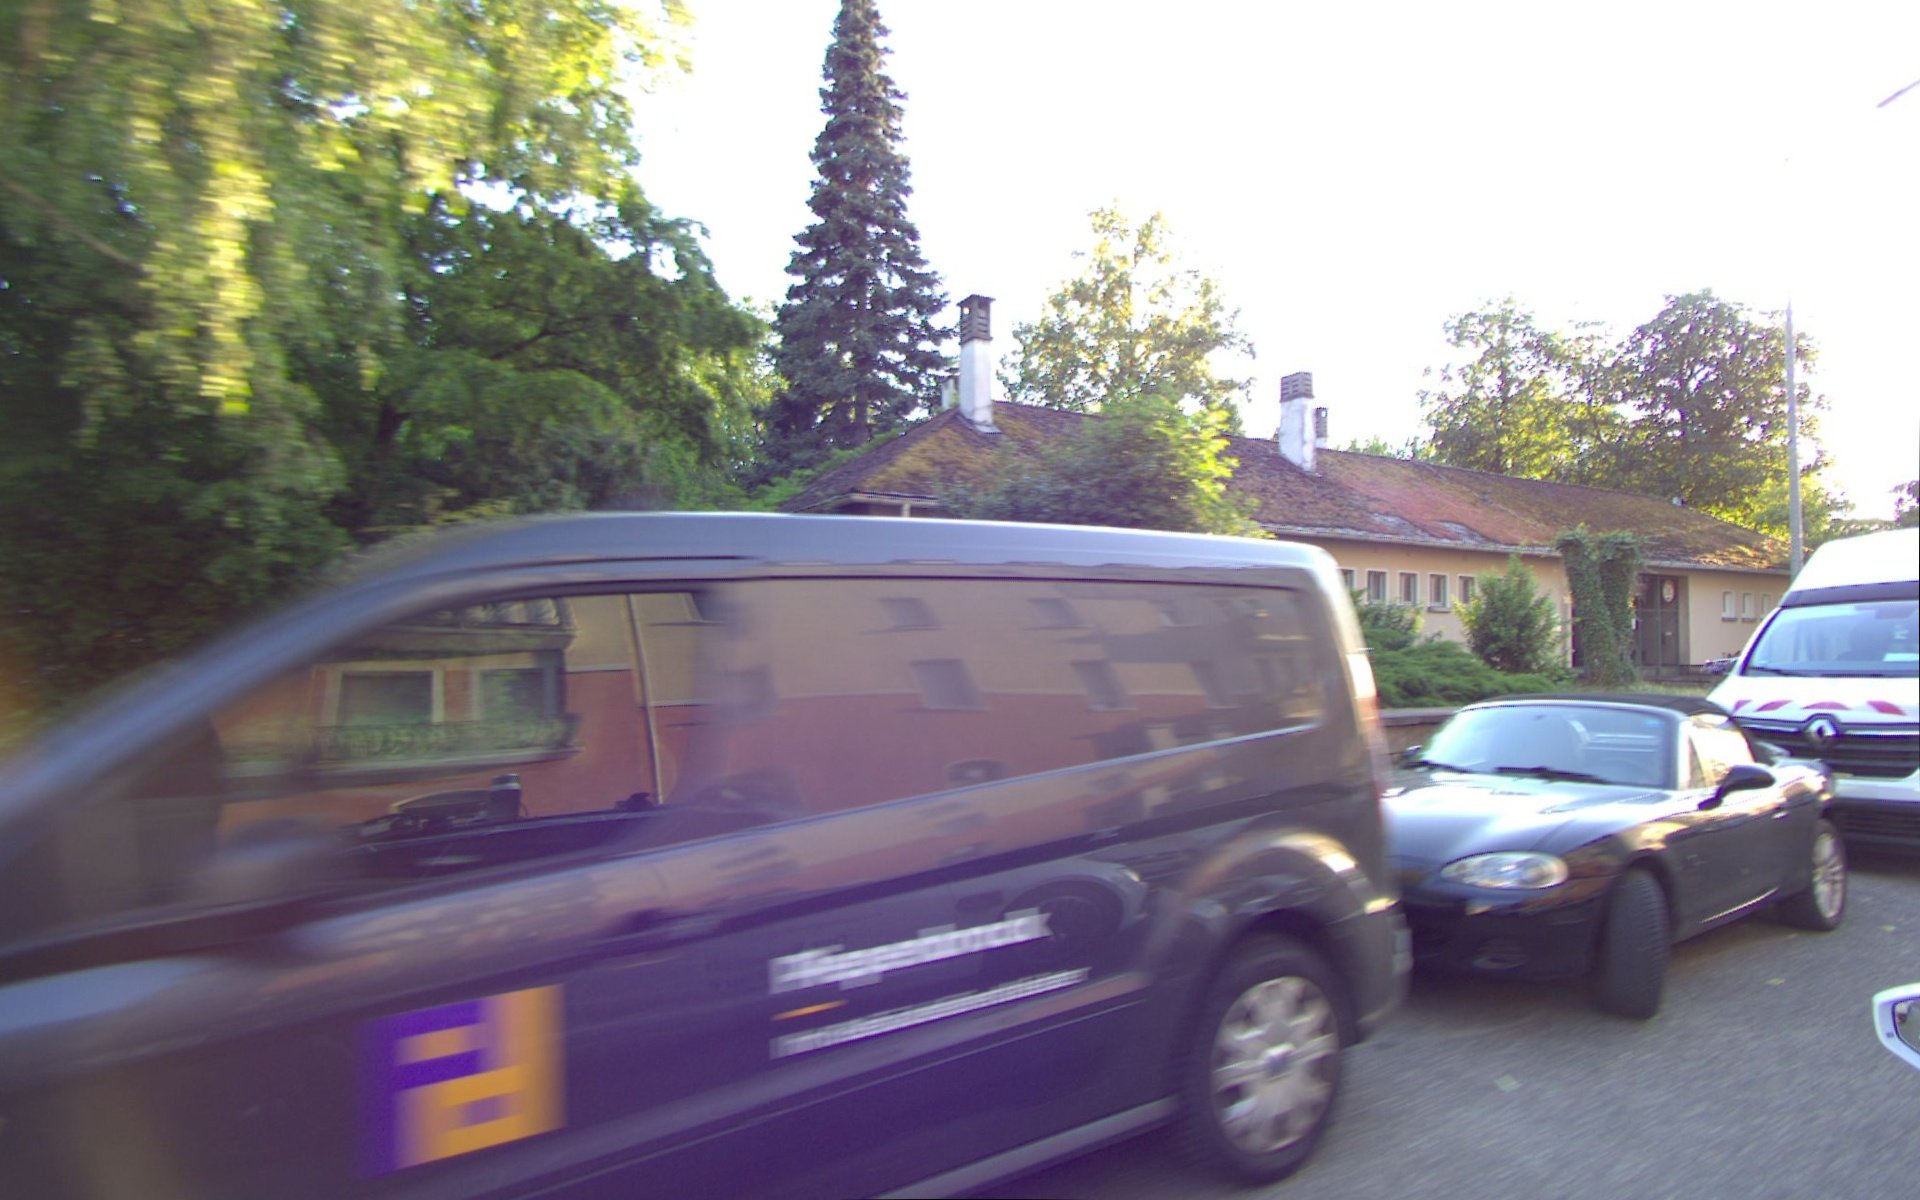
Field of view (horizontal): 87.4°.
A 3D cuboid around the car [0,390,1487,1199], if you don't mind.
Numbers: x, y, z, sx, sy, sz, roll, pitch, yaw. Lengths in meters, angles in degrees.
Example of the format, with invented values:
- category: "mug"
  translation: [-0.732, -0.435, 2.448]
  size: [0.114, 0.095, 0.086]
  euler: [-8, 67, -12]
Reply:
- category: "car"
  translation: [-0.937, 0.676, 2.706]
  size: [4.893, 1.811, 1.901]
  euler: [1, -3, -31]

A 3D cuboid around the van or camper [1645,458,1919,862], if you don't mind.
- category: "van or camper"
  translation: [8.241, 0.438, 8.199]
  size: [6.011, 2.489, 1.984]
  euler: [1, -2, -30]

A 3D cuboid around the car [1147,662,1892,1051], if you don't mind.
- category: "car"
  translation: [3.132, 0.997, 5.409]
  size: [3.996, 1.205, 1.981]
  euler: [2, -2, -35]
